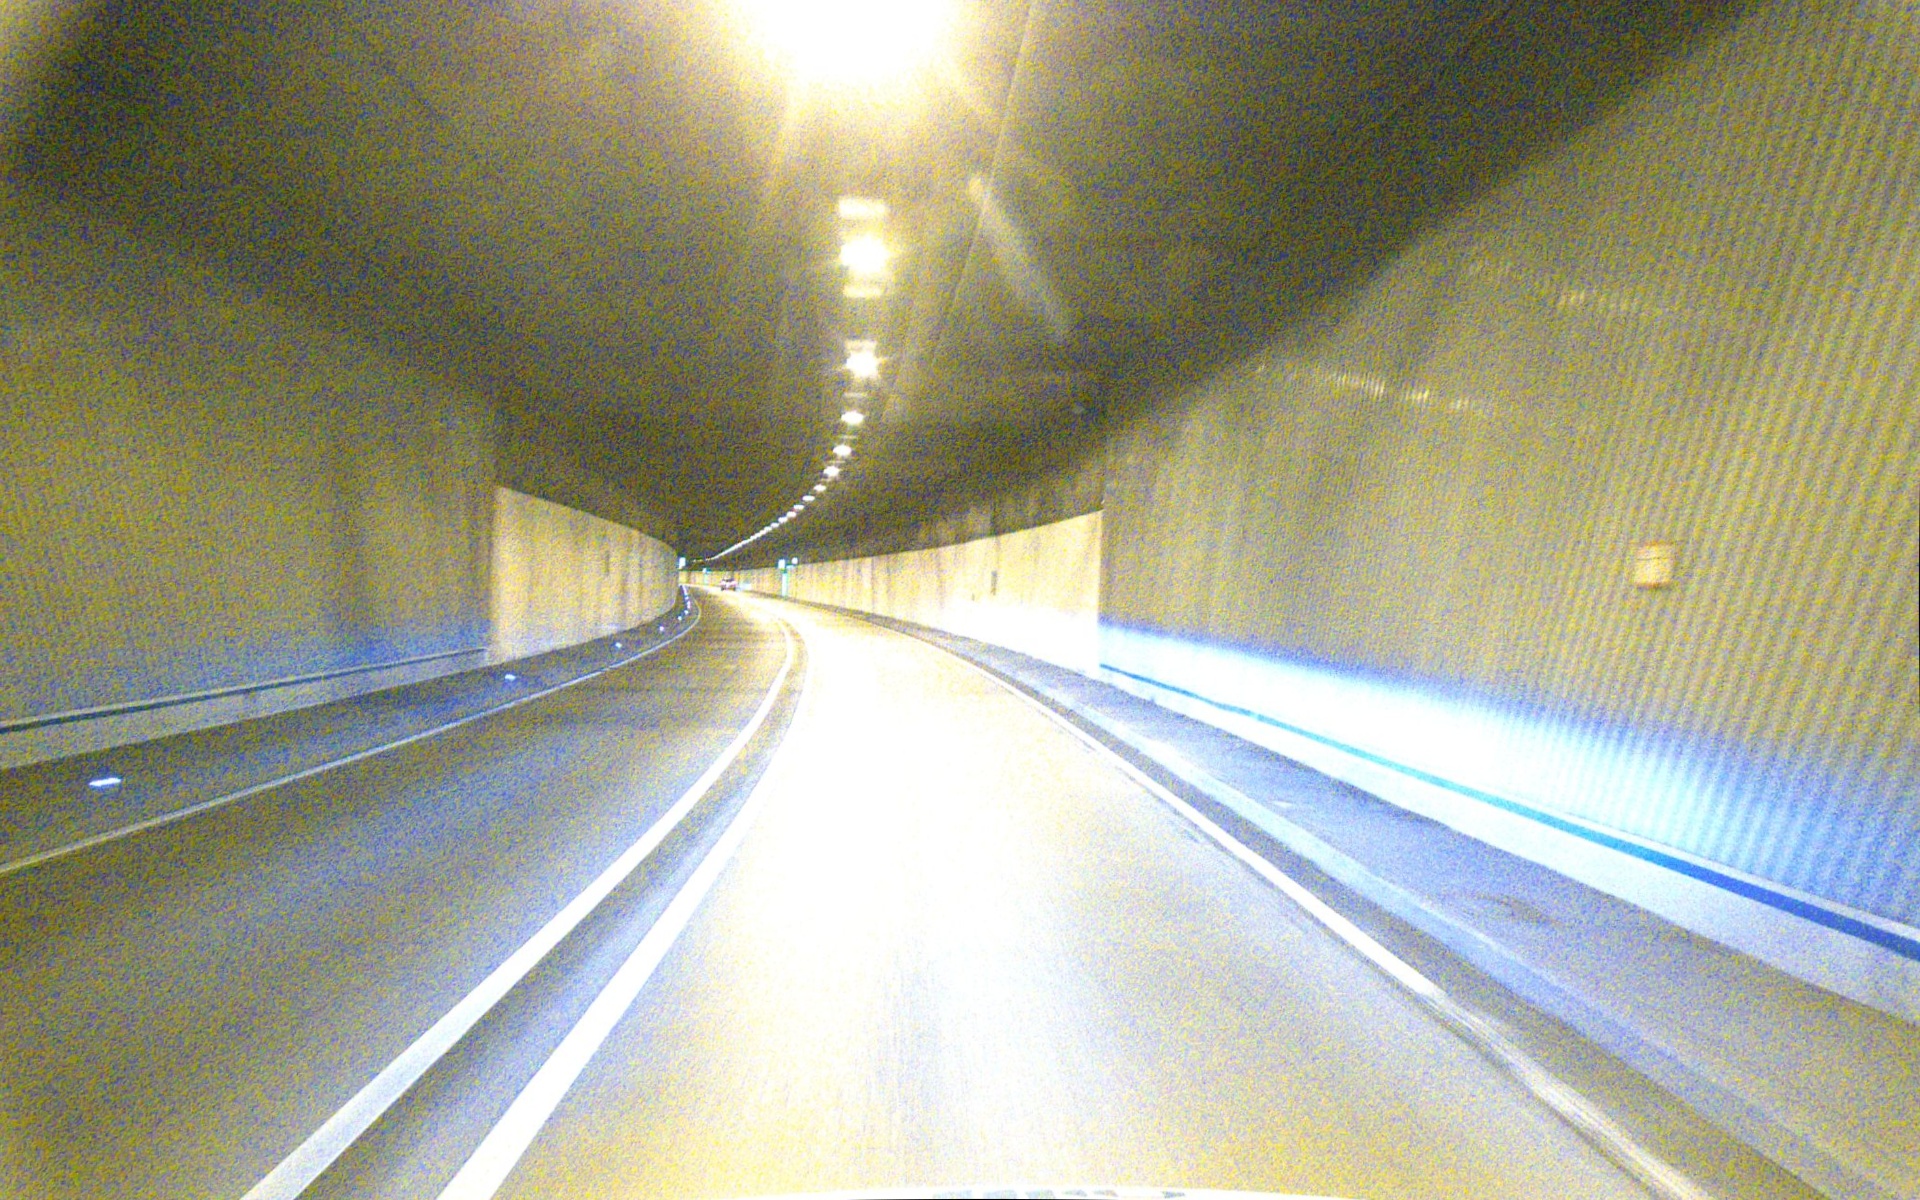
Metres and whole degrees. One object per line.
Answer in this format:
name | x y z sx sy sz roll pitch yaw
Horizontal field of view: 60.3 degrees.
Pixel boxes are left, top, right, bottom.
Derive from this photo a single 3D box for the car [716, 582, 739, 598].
car | -29.303 -1.237 208.343 1.936 1.972 4.589 3 -1 -18
